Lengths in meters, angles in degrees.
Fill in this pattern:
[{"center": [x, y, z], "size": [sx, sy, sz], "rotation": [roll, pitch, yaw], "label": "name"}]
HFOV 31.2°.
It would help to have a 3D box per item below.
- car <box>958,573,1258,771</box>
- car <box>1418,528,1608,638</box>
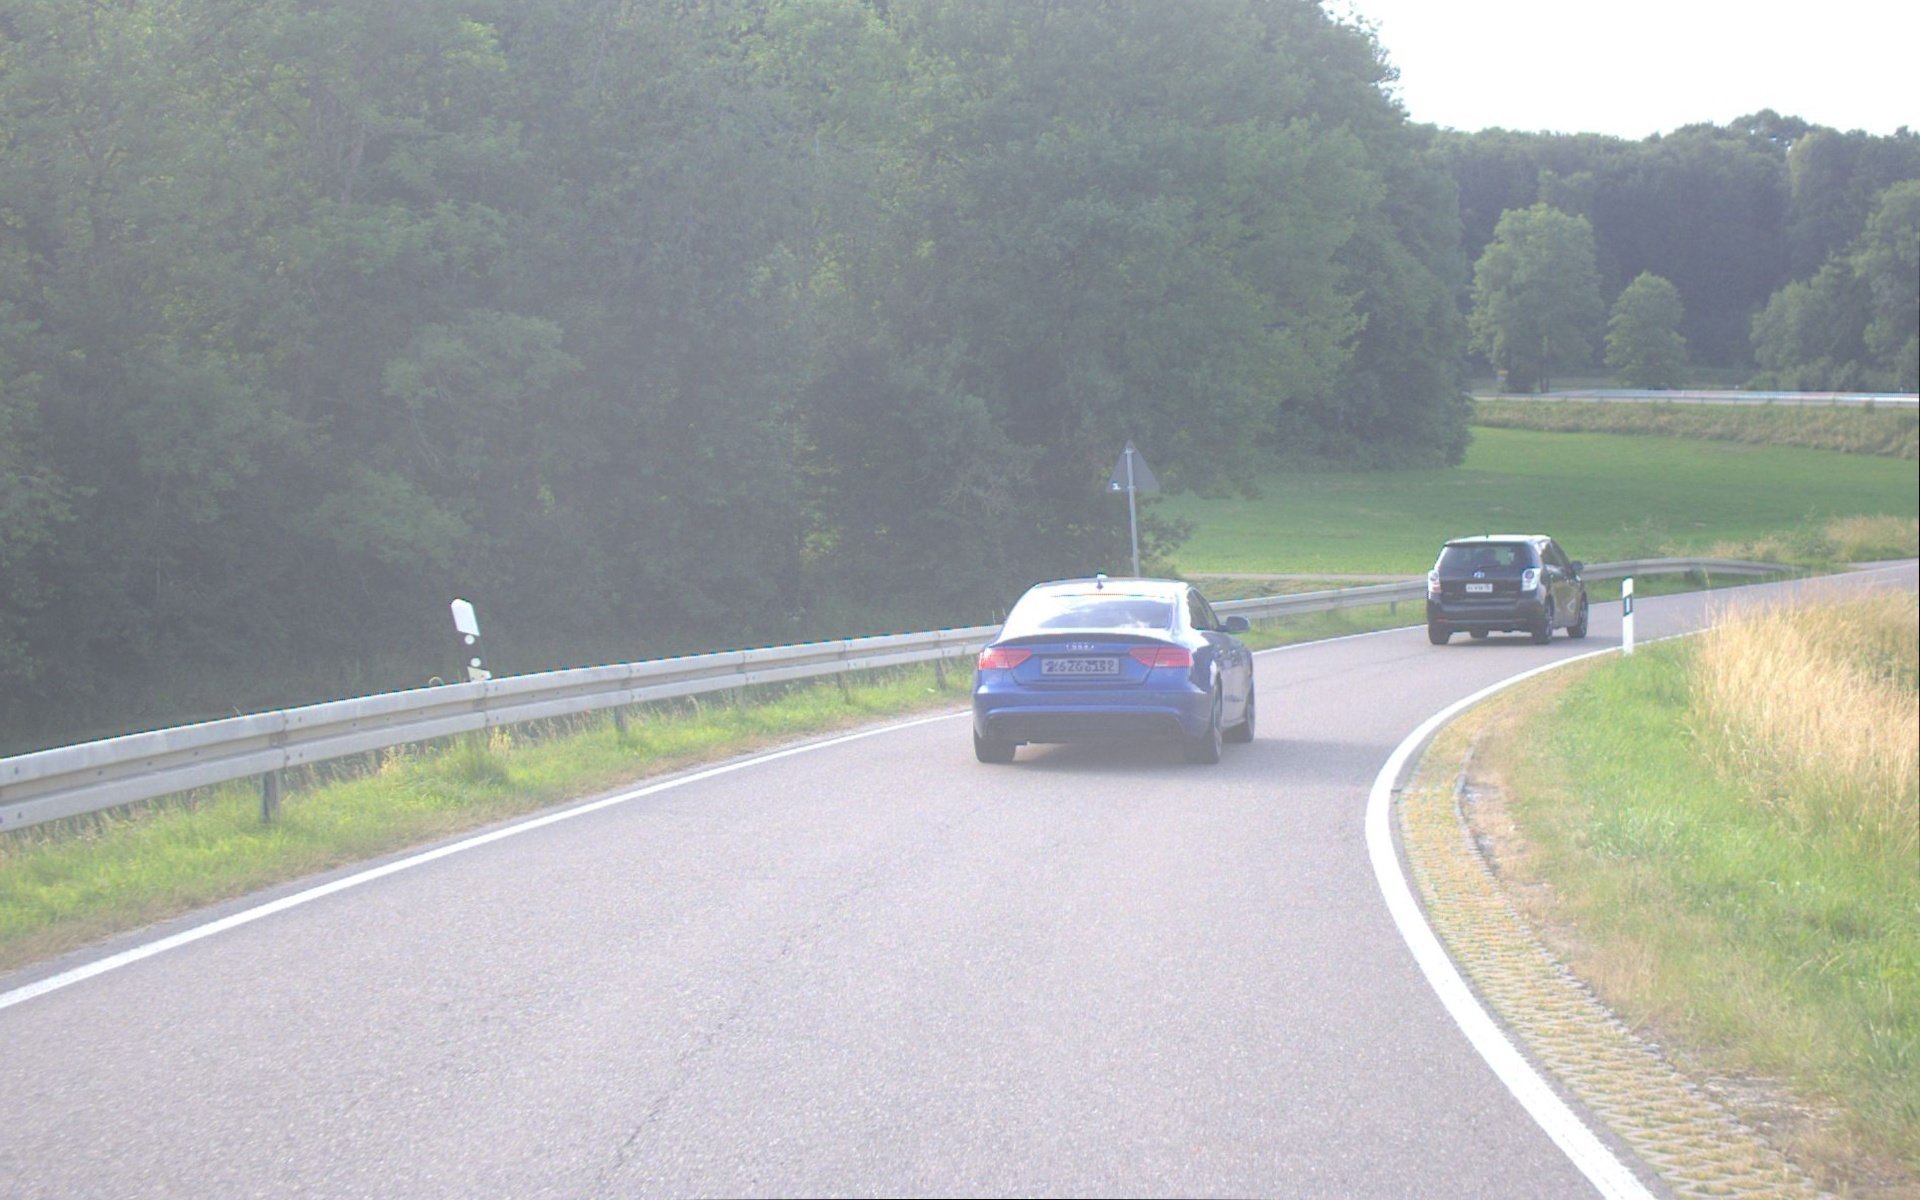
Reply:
[{"center": [1.236, 0.494, 26.747], "size": [1.819, 1.334, 4.348], "rotation": [0, 1, 9], "label": "car"}, {"center": [8.367, -0.280, 51.769], "size": [1.864, 1.563, 3.995], "rotation": [0, 1, 24], "label": "car"}]
